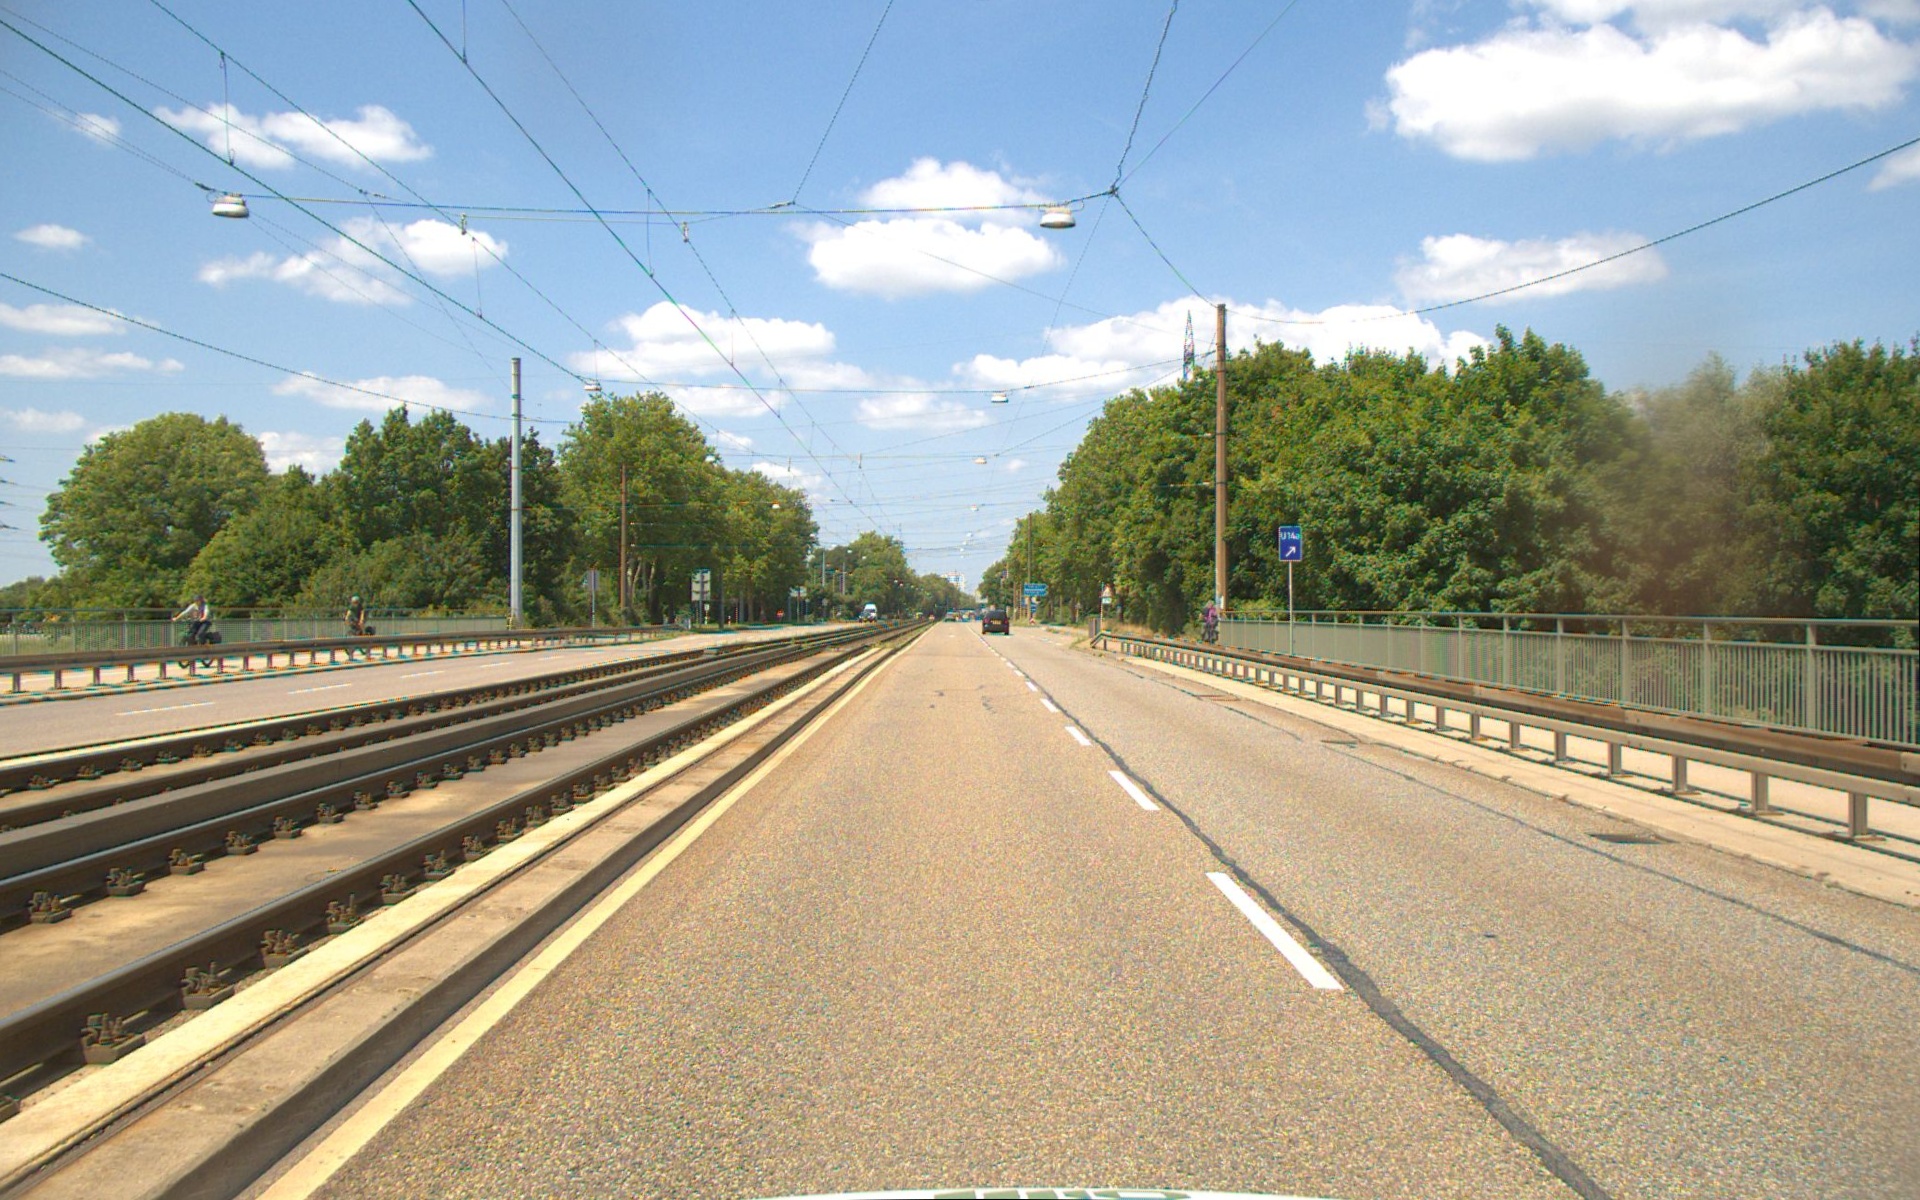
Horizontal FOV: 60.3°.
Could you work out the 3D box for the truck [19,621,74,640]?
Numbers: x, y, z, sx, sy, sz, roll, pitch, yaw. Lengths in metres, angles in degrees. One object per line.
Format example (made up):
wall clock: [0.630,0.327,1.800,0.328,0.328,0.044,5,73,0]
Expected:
truck: [-91.401,3.047,165.526,4.733,1.799,1.933,1,1,-29]

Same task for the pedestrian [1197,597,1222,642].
pedestrian: [7.871,0.598,52.106,0.615,1.398,1.050,0,-1,0]

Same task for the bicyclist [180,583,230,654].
bicyclist: [-17.870,0.440,39.157,0.747,1.650,0.838,1,-1,-1]

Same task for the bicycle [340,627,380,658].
bicycle: [-17.865,1.249,49.280,0.512,0.858,2.035,2,0,-2]

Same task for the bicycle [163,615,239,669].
bicycle: [-17.888,0.979,39.026,0.839,1.206,2.061,1,0,-1]

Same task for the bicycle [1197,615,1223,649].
bicycle: [7.857,1.006,52.024,0.548,1.042,1.847,0,-1,0]

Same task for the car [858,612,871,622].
car: [-14.468,2.546,250.388,1.780,1.541,4.427,-1,0,0]

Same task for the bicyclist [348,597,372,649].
bicyclist: [-17.882,0.684,49.274,0.510,1.523,0.529,1,0,-3]

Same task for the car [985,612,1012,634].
car: [2.484,1.486,107.798,1.554,1.366,3.271,0,0,-2]
